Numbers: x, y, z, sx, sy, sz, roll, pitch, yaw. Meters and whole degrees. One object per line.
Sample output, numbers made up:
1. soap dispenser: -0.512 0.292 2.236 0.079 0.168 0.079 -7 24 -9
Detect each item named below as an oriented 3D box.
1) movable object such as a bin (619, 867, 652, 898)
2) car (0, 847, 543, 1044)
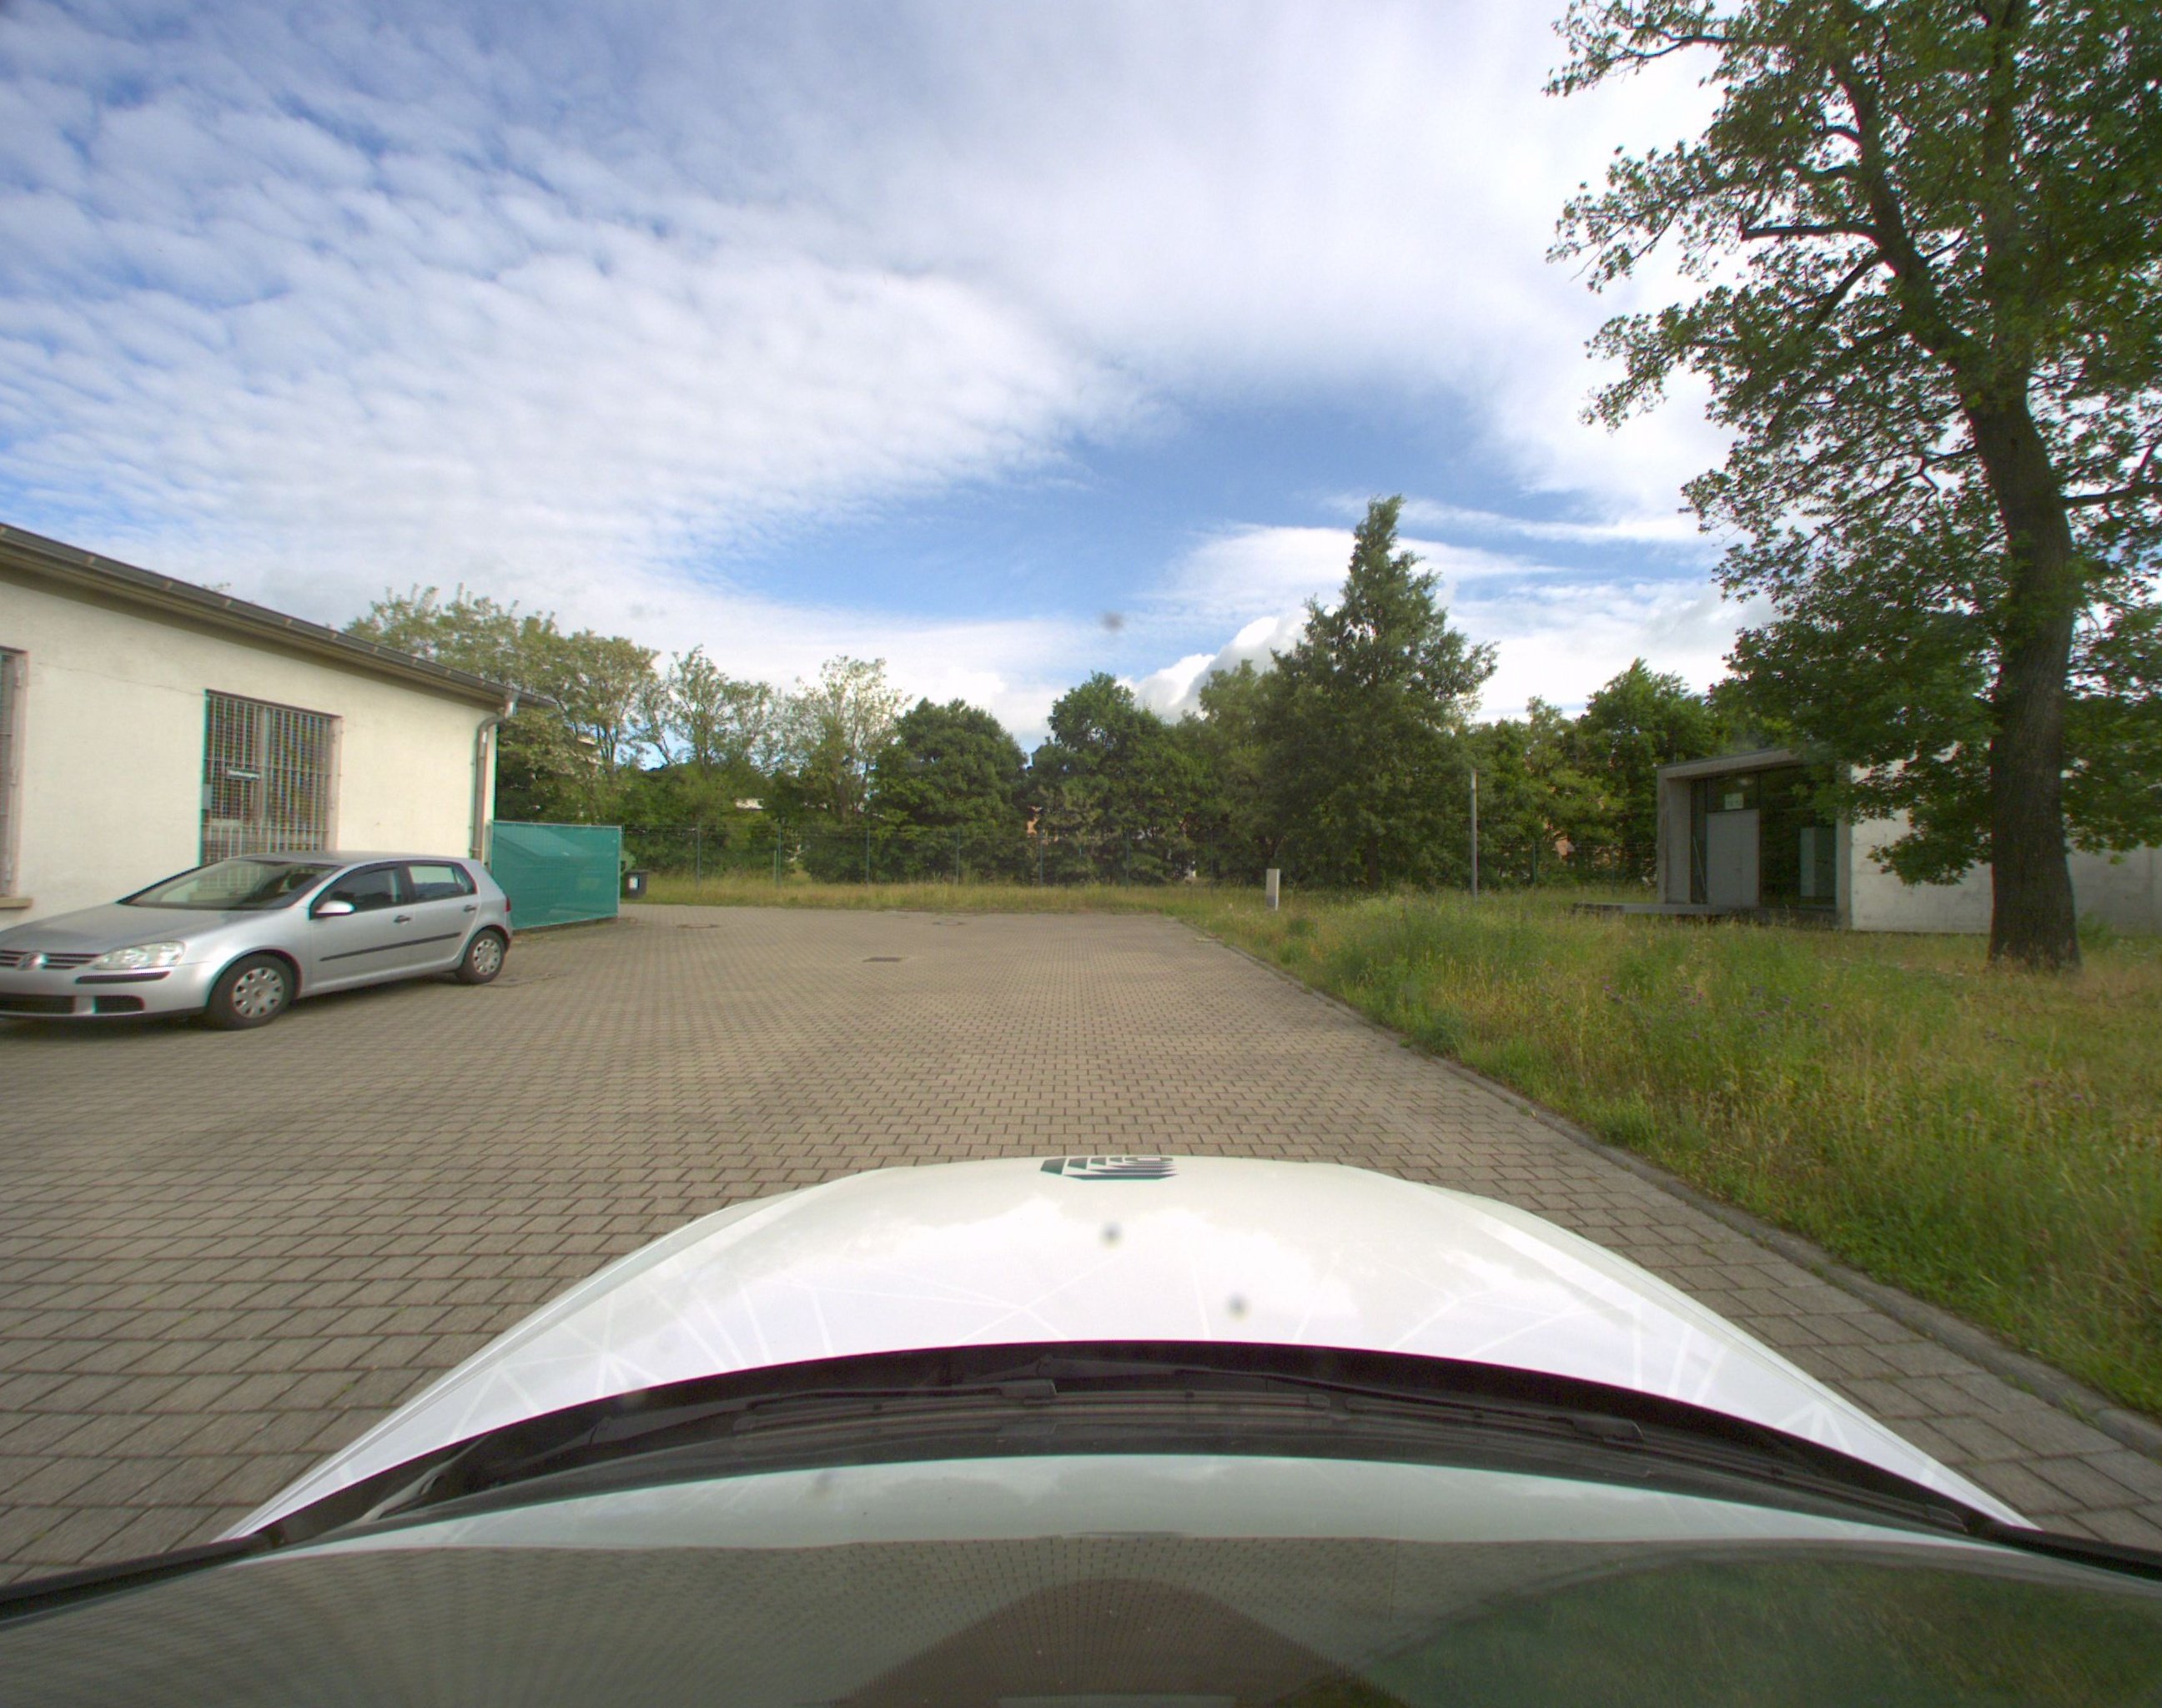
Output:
1. movable object such as a bin: -12.663 0.796 23.166 0.580 0.866 0.603 0 -1 7
2. car: -7.751 0.684 8.131 1.919 1.439 4.364 1 0 -2
